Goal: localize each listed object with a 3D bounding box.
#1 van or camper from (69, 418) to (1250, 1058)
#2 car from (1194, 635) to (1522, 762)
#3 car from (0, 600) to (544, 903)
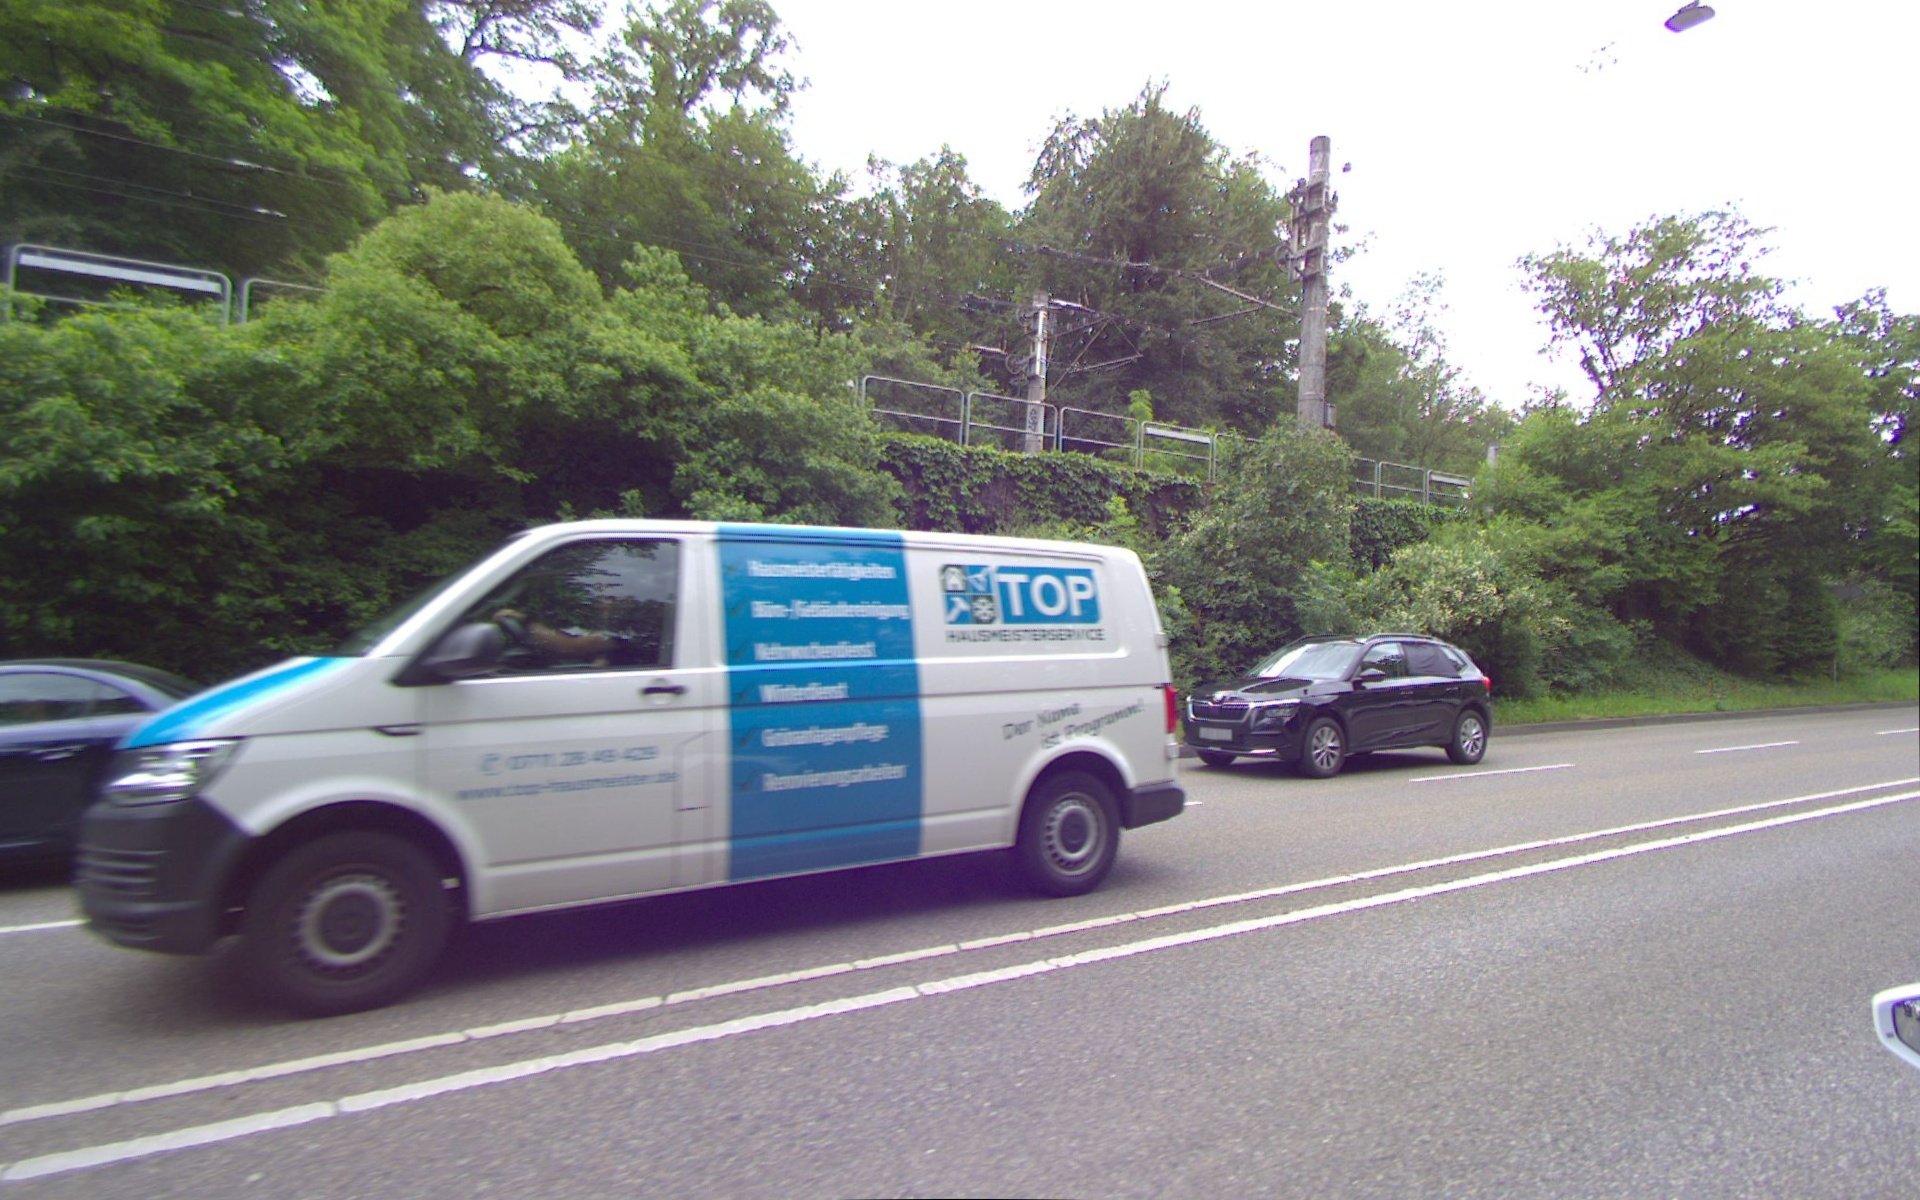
[{"bbox_3d":[-1.056,0.570,5.467,5.308,2.039,1.984,2,-5,-31],"label":"van or camper"},{"bbox_3d":[4.912,1.137,12.302,3.952,1.329,1.635,2,-4,-30],"label":"car"},{"bbox_3d":[-4.973,0.873,6.500,4.021,1.617,1.728,2,-4,-30],"label":"car"}]
